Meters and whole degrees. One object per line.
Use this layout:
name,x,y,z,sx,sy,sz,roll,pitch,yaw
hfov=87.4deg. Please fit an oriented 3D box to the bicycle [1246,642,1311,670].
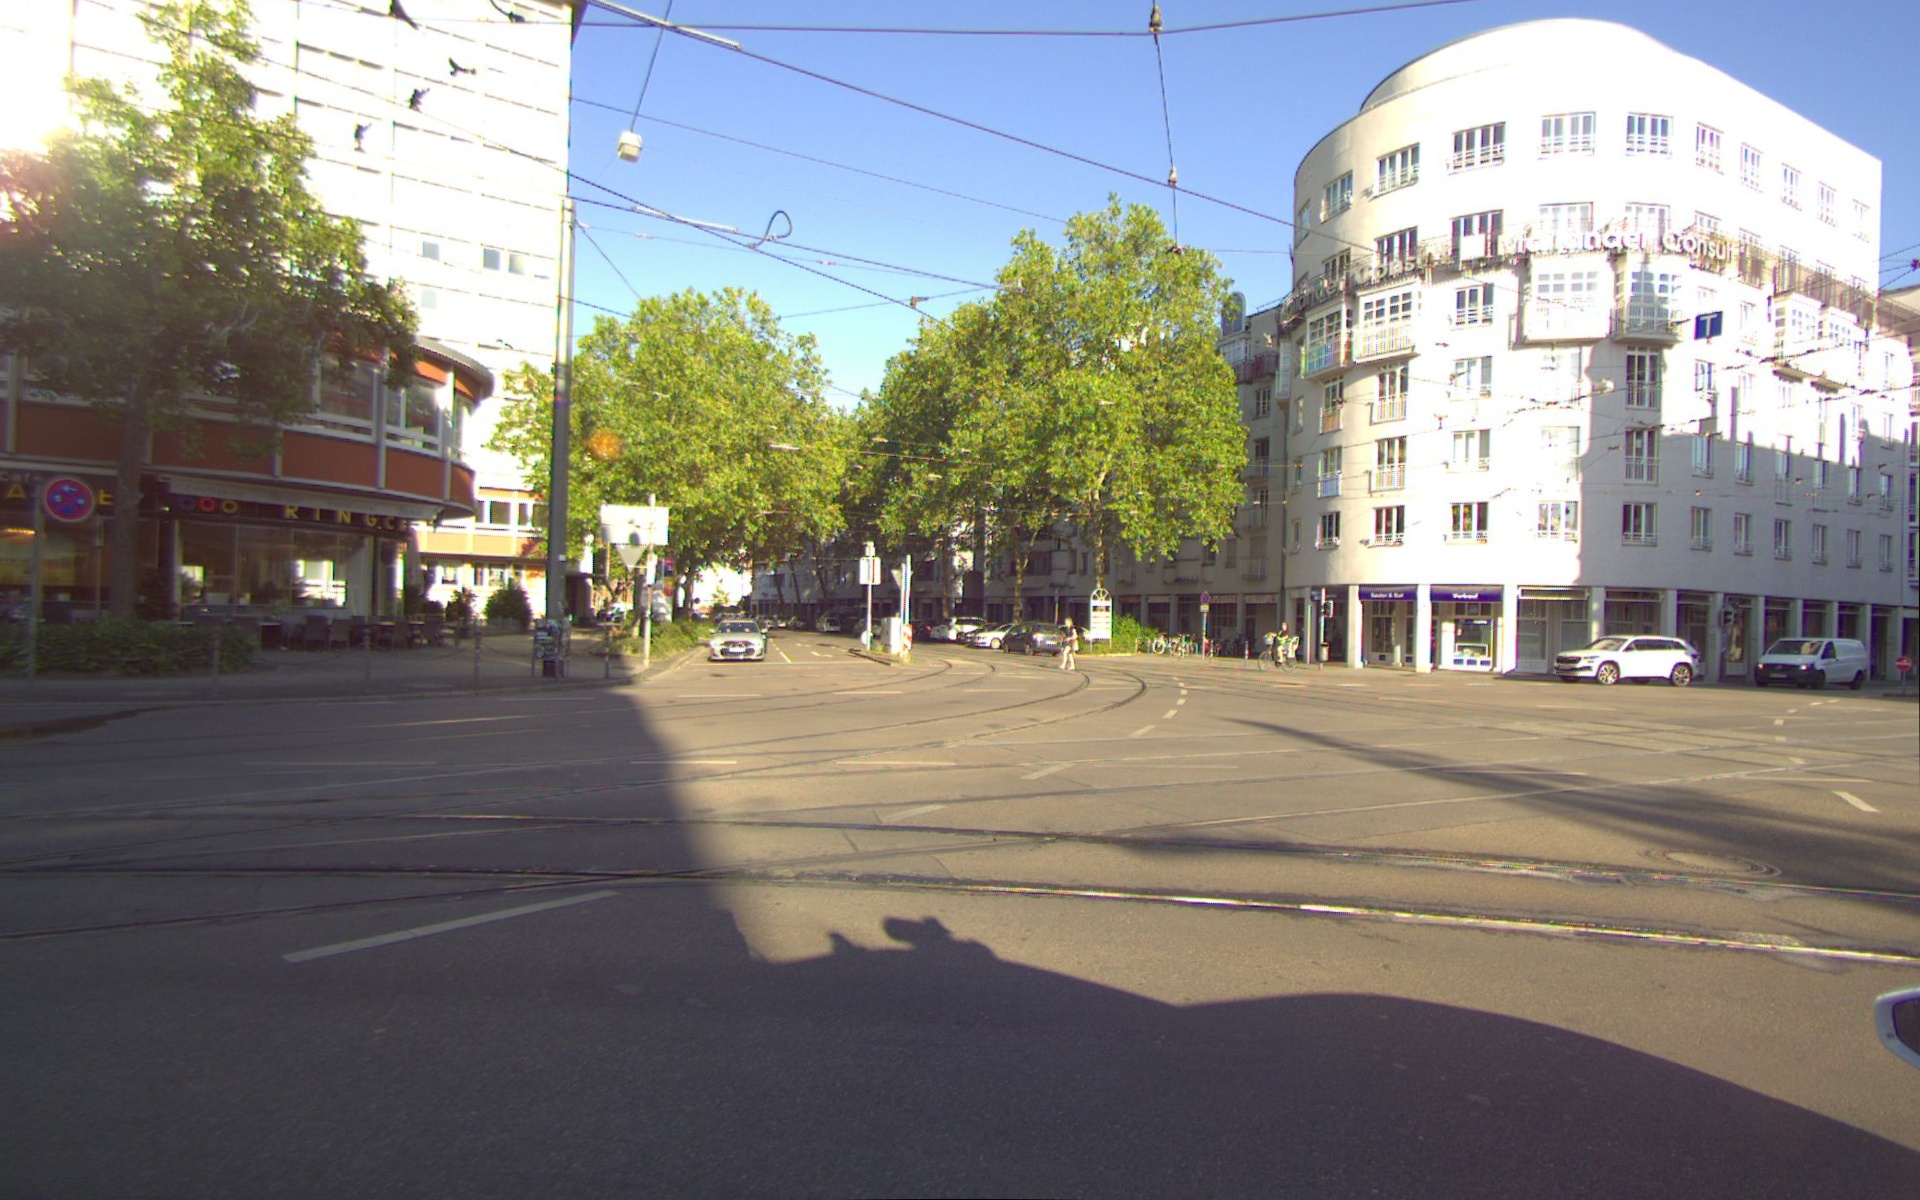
bicycle,11.342,2.004,35.718,2.234,0.939,0.838,2,-1,-26

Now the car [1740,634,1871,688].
car,31.559,2.270,37.470,5.282,1.862,1.985,2,-1,-29

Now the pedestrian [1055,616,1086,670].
pedestrian,3.529,1.366,32.246,0.686,1.704,0.867,0,-1,-19

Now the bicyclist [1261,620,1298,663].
bicyclist,11.366,1.487,35.732,0.884,1.487,0.838,2,-1,-25

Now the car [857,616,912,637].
car,-6.021,2.102,80.061,3.947,1.530,1.788,2,-1,-26

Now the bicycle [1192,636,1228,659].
bicycle,13.041,2.490,52.446,0.807,1.122,1.938,2,-1,-23

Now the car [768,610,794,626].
car,-20.997,2.111,117.954,1.778,1.530,3.970,3,0,-28

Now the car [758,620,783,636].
car,-19.670,2.863,104.143,1.774,1.530,3.979,2,-1,-22

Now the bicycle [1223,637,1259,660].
bicycle,14.954,2.558,53.514,0.808,1.122,1.936,2,-1,-25

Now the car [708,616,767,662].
car,-7.768,1.341,35.316,1.858,1.440,4.447,2,-2,-11

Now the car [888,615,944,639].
car,-3.420,2.095,78.490,3.953,1.738,1.786,3,-1,-30

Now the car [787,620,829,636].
car,-15.851,2.903,104.709,3.953,1.530,1.786,3,-1,-30

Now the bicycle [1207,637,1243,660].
bicycle,13.934,2.522,52.839,0.807,1.122,1.938,2,-1,-23

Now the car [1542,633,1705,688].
car,22.413,2.028,34.022,4.429,1.641,1.997,2,-1,-9

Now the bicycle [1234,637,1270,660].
bicycle,15.674,2.585,53.987,0.808,1.122,1.936,2,-1,-25

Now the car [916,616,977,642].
car,-0.963,2.065,71.846,3.953,1.738,1.786,3,-1,-30

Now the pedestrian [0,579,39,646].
pedestrian,-20.643,0.260,21.650,0.879,1.414,0.931,2,-1,-27

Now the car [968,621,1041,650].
car,2.665,2.127,60.003,3.953,1.530,1.786,3,-1,-30

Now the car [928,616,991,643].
car,-0.050,2.030,69.116,3.953,1.738,1.786,3,-1,-30

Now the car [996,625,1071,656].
car,3.621,2.014,50.241,1.864,1.440,4.430,2,-1,-24

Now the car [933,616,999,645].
car,0.402,2.038,66.897,3.953,1.738,1.786,3,-1,-30

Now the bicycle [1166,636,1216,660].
bicycle,11.790,2.429,51.318,0.931,1.122,2.414,2,-1,-41
